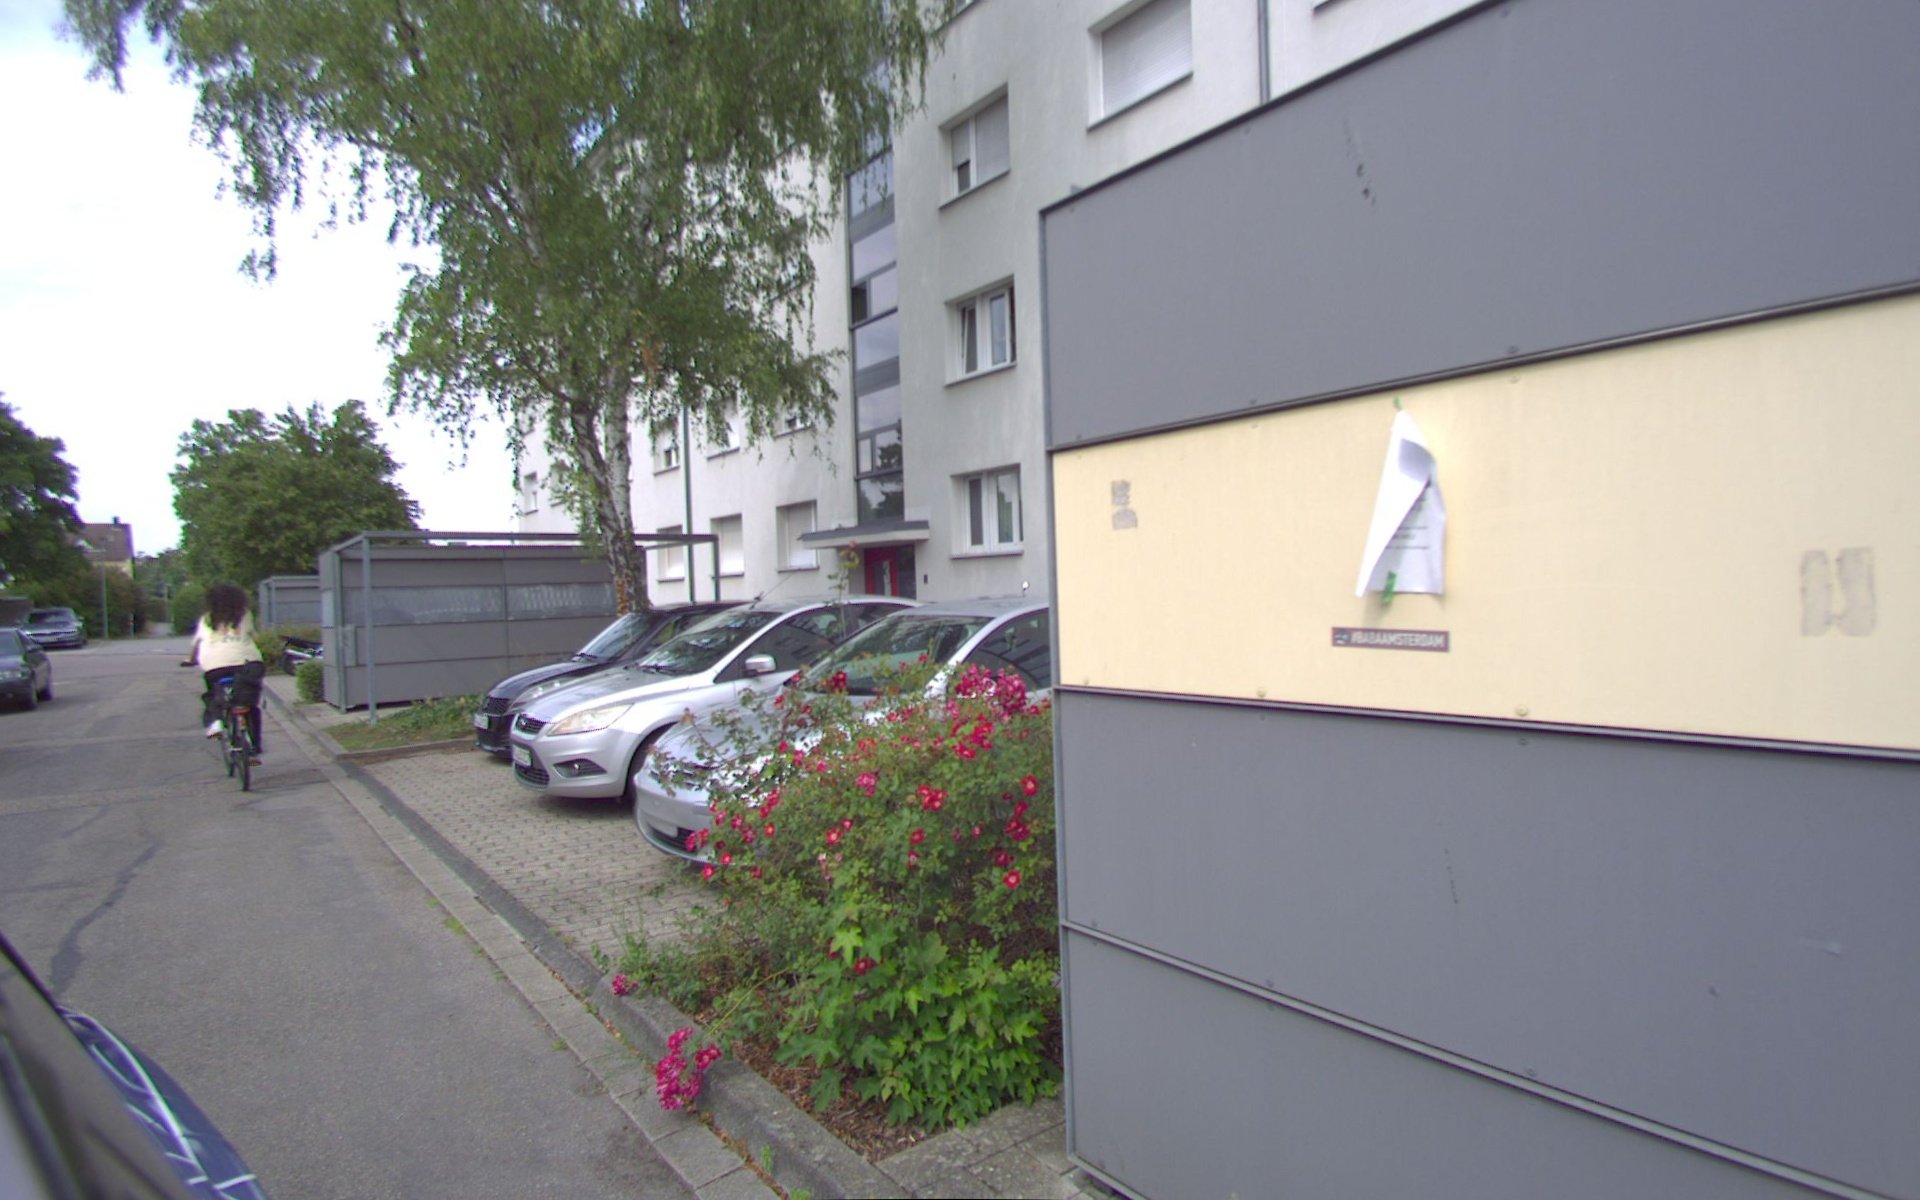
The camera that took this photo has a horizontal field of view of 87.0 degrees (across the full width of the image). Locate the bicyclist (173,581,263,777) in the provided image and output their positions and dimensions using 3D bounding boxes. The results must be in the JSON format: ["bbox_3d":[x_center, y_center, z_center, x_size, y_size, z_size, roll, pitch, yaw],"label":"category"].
[{"bbox_3d":[-6.389,0.642,8.731,0.589,1.593,0.769,-1,0,-36],"label":"bicyclist"}]

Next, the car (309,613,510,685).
[{"bbox_3d":[-12.837,1.084,23.662,3.934,1.497,1.907,0,-1,-36],"label":"car"}]

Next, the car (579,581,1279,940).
[{"bbox_3d":[-0.011,0.670,6.232,3.999,1.475,1.785,-2,0,-38],"label":"car"}]

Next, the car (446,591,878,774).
[{"bbox_3d":[-3.056,0.723,10.747,3.999,1.516,1.785,-2,0,-38],"label":"car"}]

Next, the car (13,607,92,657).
[{"bbox_3d":[-33.228,1.136,37.147,1.897,1.596,4.007,-5,2,-40],"label":"car"}]

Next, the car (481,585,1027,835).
[{"bbox_3d":[-1.554,0.685,8.313,3.999,1.516,1.785,-2,0,-38],"label":"car"}]

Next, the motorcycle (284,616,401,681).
[{"bbox_3d":[-14.833,1.125,24.337,2.346,1.475,0.715,0,-1,-38],"label":"motorcycle"}]

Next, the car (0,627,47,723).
[{"bbox_3d":[-16.934,1.271,17.226,1.807,1.468,4.197,-4,1,-39],"label":"car"}]

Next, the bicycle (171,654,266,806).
[{"bbox_3d":[-6.423,1.052,8.786,0.589,1.084,2.047,-1,0,-36],"label":"bicycle"}]
